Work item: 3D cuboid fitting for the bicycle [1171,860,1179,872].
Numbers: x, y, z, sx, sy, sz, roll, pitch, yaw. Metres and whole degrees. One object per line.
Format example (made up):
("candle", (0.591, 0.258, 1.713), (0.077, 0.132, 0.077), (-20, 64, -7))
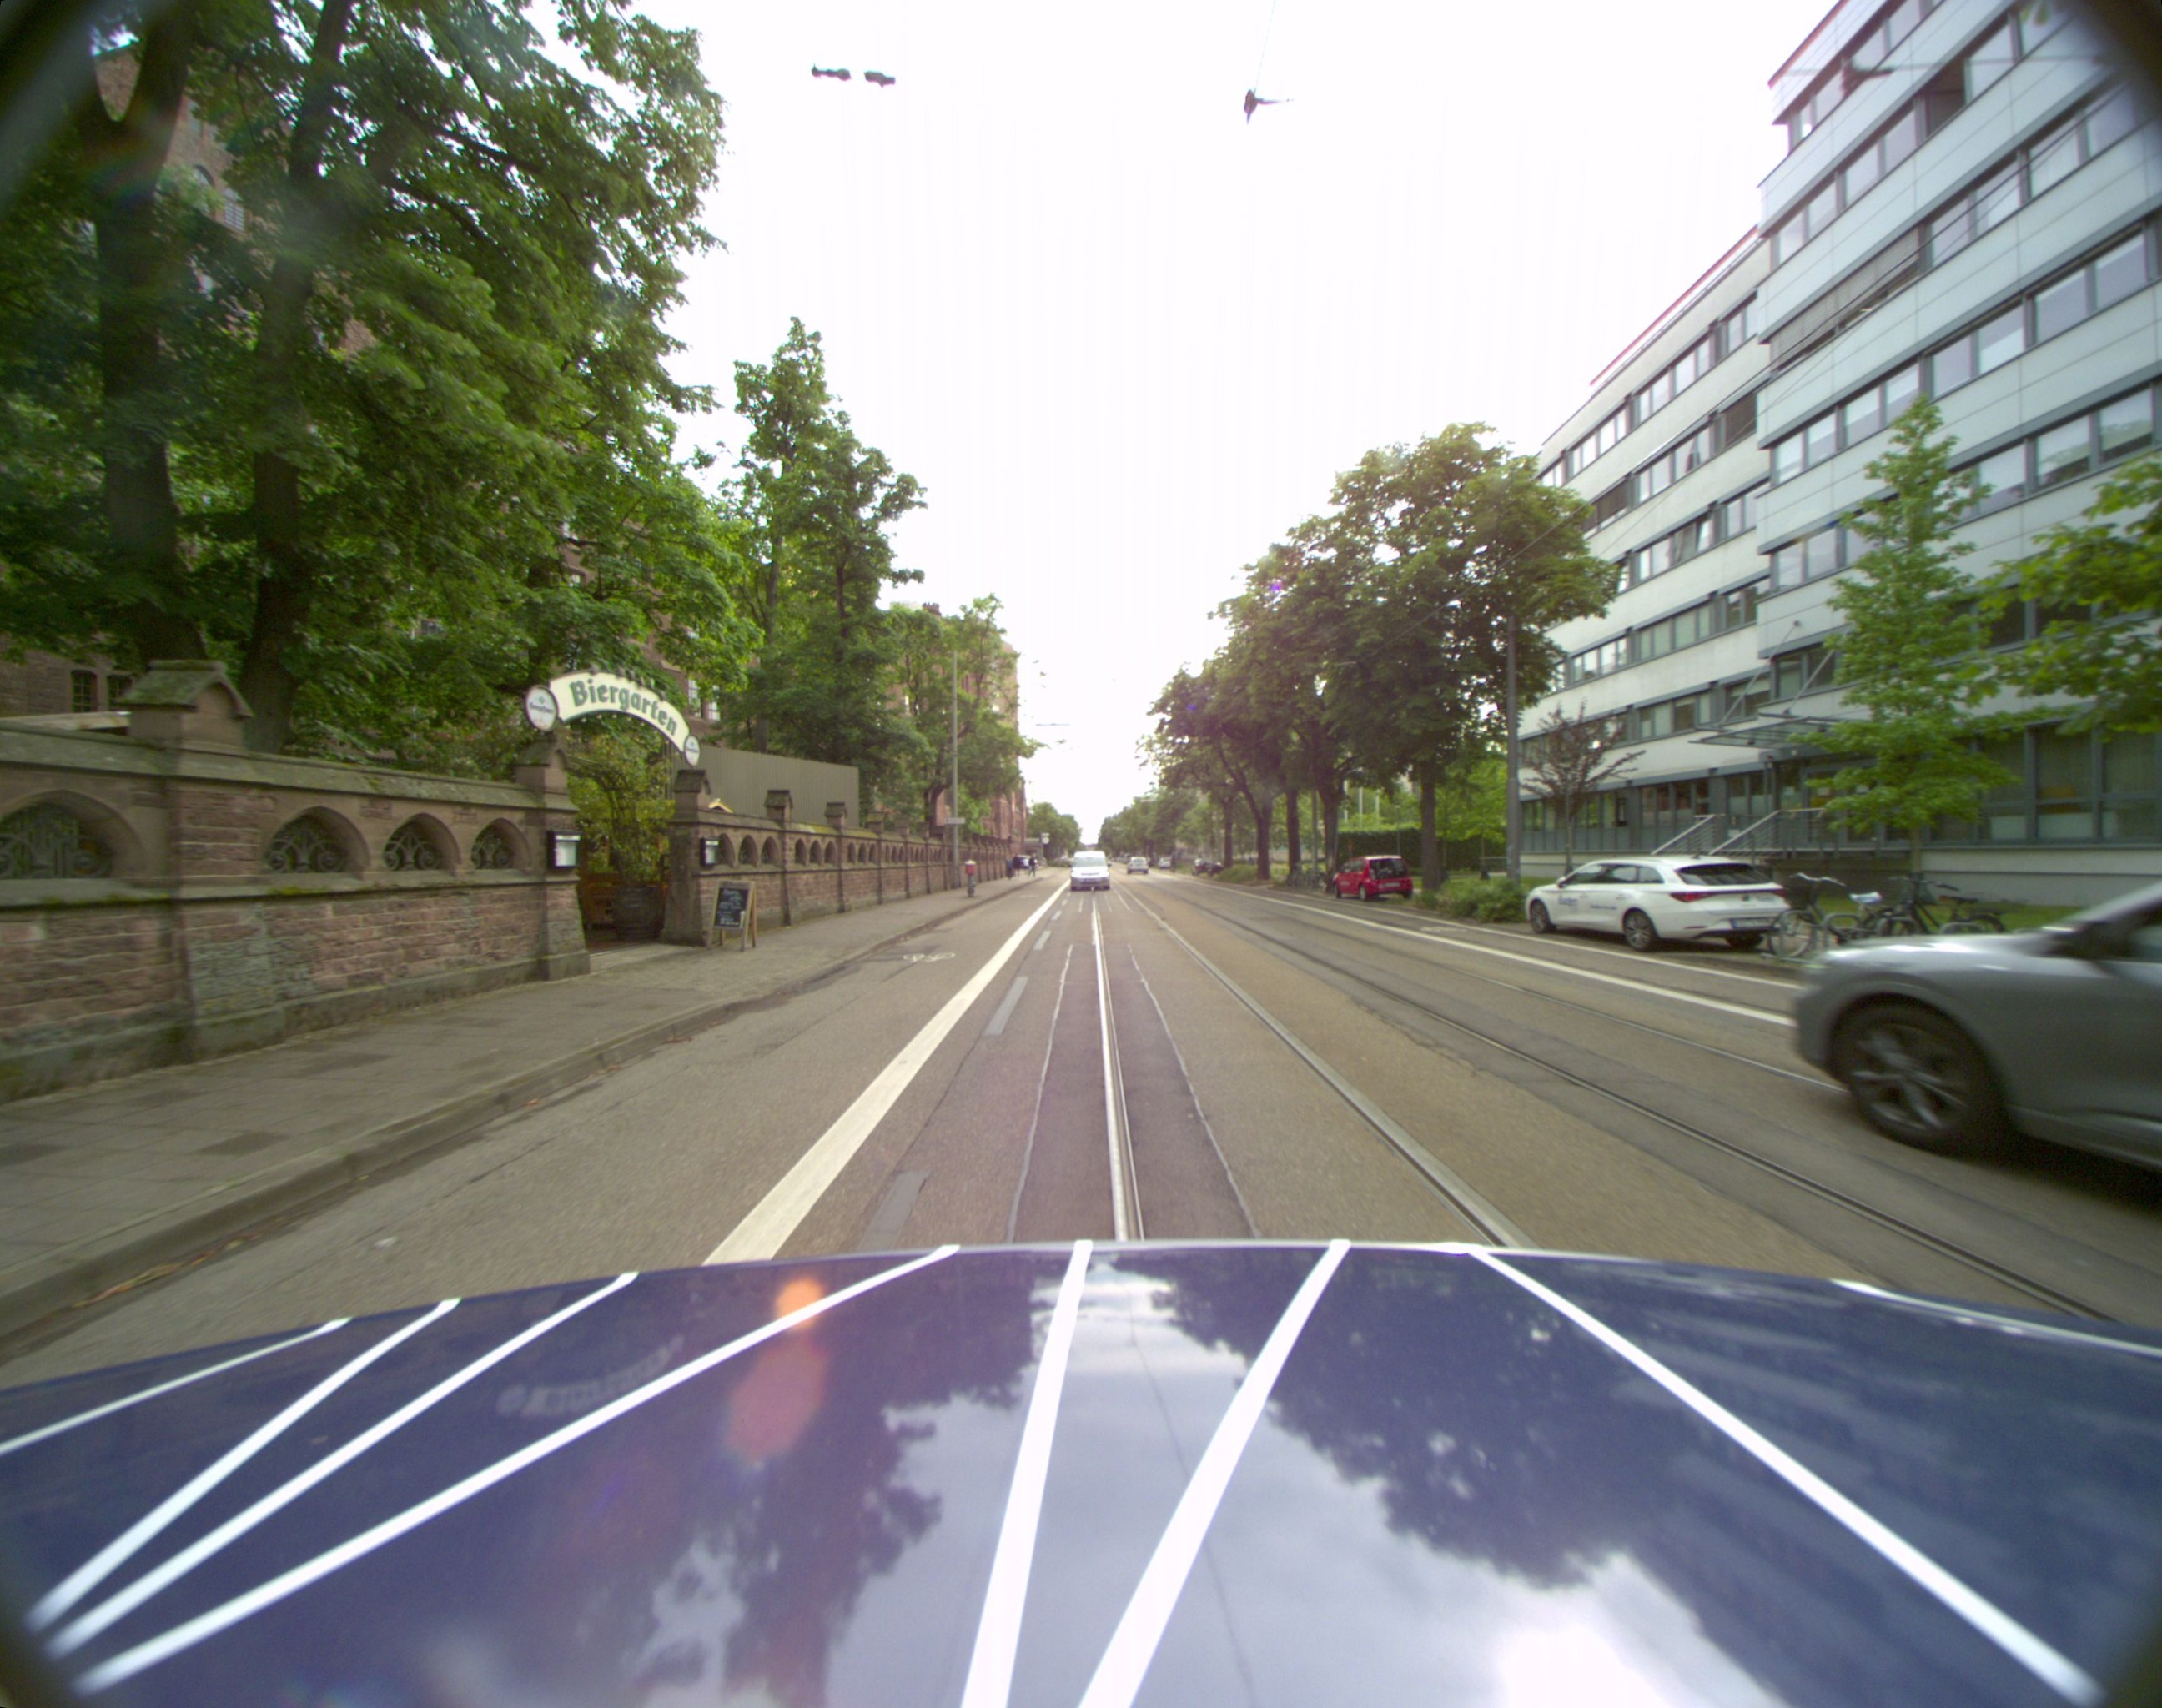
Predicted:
("bicycle", (8.629, 1.083, 69.788), (0.636, 1.044, 1.994), (-2, 1, 5))

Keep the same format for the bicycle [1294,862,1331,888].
("bicycle", (10.320, 0.927, 33.884), (1.473, 1.134, 0.617), (-1, 1, 0))

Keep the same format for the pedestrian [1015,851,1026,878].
("pedestrian", (-4.150, 0.713, 52.129), (0.723, 1.834, 0.897), (1, 1, -2))

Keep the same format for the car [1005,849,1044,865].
("car", (-6.435, 0.290, 86.846), (3.992, 1.608, 2.002), (3, 1, 12))

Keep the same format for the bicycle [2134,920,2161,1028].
("bicycle", (10.016, 1.023, 6.310), (1.811, 0.894, 0.632), (0, 1, -5))

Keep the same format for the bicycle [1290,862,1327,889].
("bicycle", (10.277, 0.961, 34.391), (1.473, 1.134, 0.617), (-2, 1, 0))

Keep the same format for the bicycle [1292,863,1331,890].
("bicycle", (9.969, 0.980, 32.887), (1.474, 1.085, 0.616), (-2, 1, -11))

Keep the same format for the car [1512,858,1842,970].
("car", (9.603, 0.845, 12.894), (1.886, 1.484, 4.753), (-2, 0, 1))

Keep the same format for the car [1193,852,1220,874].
("car", (10.520, 0.702, 63.906), (1.815, 1.699, 4.001), (-2, 1, 4))

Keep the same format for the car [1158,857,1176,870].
("car", (10.806, 1.155, 95.621), (1.849, 1.425, 3.951), (-2, 0, 1))

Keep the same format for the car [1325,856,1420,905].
("car", (9.946, 0.844, 26.223), (1.632, 1.439, 3.756), (-3, 1, -2))

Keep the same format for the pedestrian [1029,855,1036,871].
("pedestrian", (-4.781, 0.919, 75.120), (0.529, 1.548, 0.489), (3, 1, -2))

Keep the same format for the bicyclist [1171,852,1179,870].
("bicyclist", (8.612, 0.638, 69.779), (0.636, 1.528, 0.955), (-2, 1, 5))

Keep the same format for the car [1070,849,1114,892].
("car", (0.530, 0.710, 35.464), (1.850, 1.797, 4.936), (-2, 0, 1))

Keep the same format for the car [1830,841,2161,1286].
("car", (4.910, 0.788, 1.852), (1.846, 1.644, 4.389), (2, 0, 1))

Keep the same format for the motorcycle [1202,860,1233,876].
("motorcycle", (9.904, 1.041, 55.204), (2.128, 1.096, 0.776), (-2, 1, 42))

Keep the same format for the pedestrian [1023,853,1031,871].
("pedestrian", (-5.297, 0.815, 75.103), (0.669, 1.703, 0.997), (3, 1, -2))

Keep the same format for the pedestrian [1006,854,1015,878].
("pedestrian", (-4.824, 0.811, 51.971), (0.559, 1.645, 0.771), (1, 0, -2))

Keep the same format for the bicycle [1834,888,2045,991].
("bicycle", (9.800, 0.956, 8.706), (1.811, 1.094, 0.632), (0, 1, -5))

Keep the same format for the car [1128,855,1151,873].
("car", (5.335, 0.887, 69.508), (1.745, 1.490, 4.261), (-1, 0, -1))

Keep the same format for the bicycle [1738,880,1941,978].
("bicycle", (9.765, 0.942, 9.834), (1.868, 1.180, 0.632), (0, 1, 5))
